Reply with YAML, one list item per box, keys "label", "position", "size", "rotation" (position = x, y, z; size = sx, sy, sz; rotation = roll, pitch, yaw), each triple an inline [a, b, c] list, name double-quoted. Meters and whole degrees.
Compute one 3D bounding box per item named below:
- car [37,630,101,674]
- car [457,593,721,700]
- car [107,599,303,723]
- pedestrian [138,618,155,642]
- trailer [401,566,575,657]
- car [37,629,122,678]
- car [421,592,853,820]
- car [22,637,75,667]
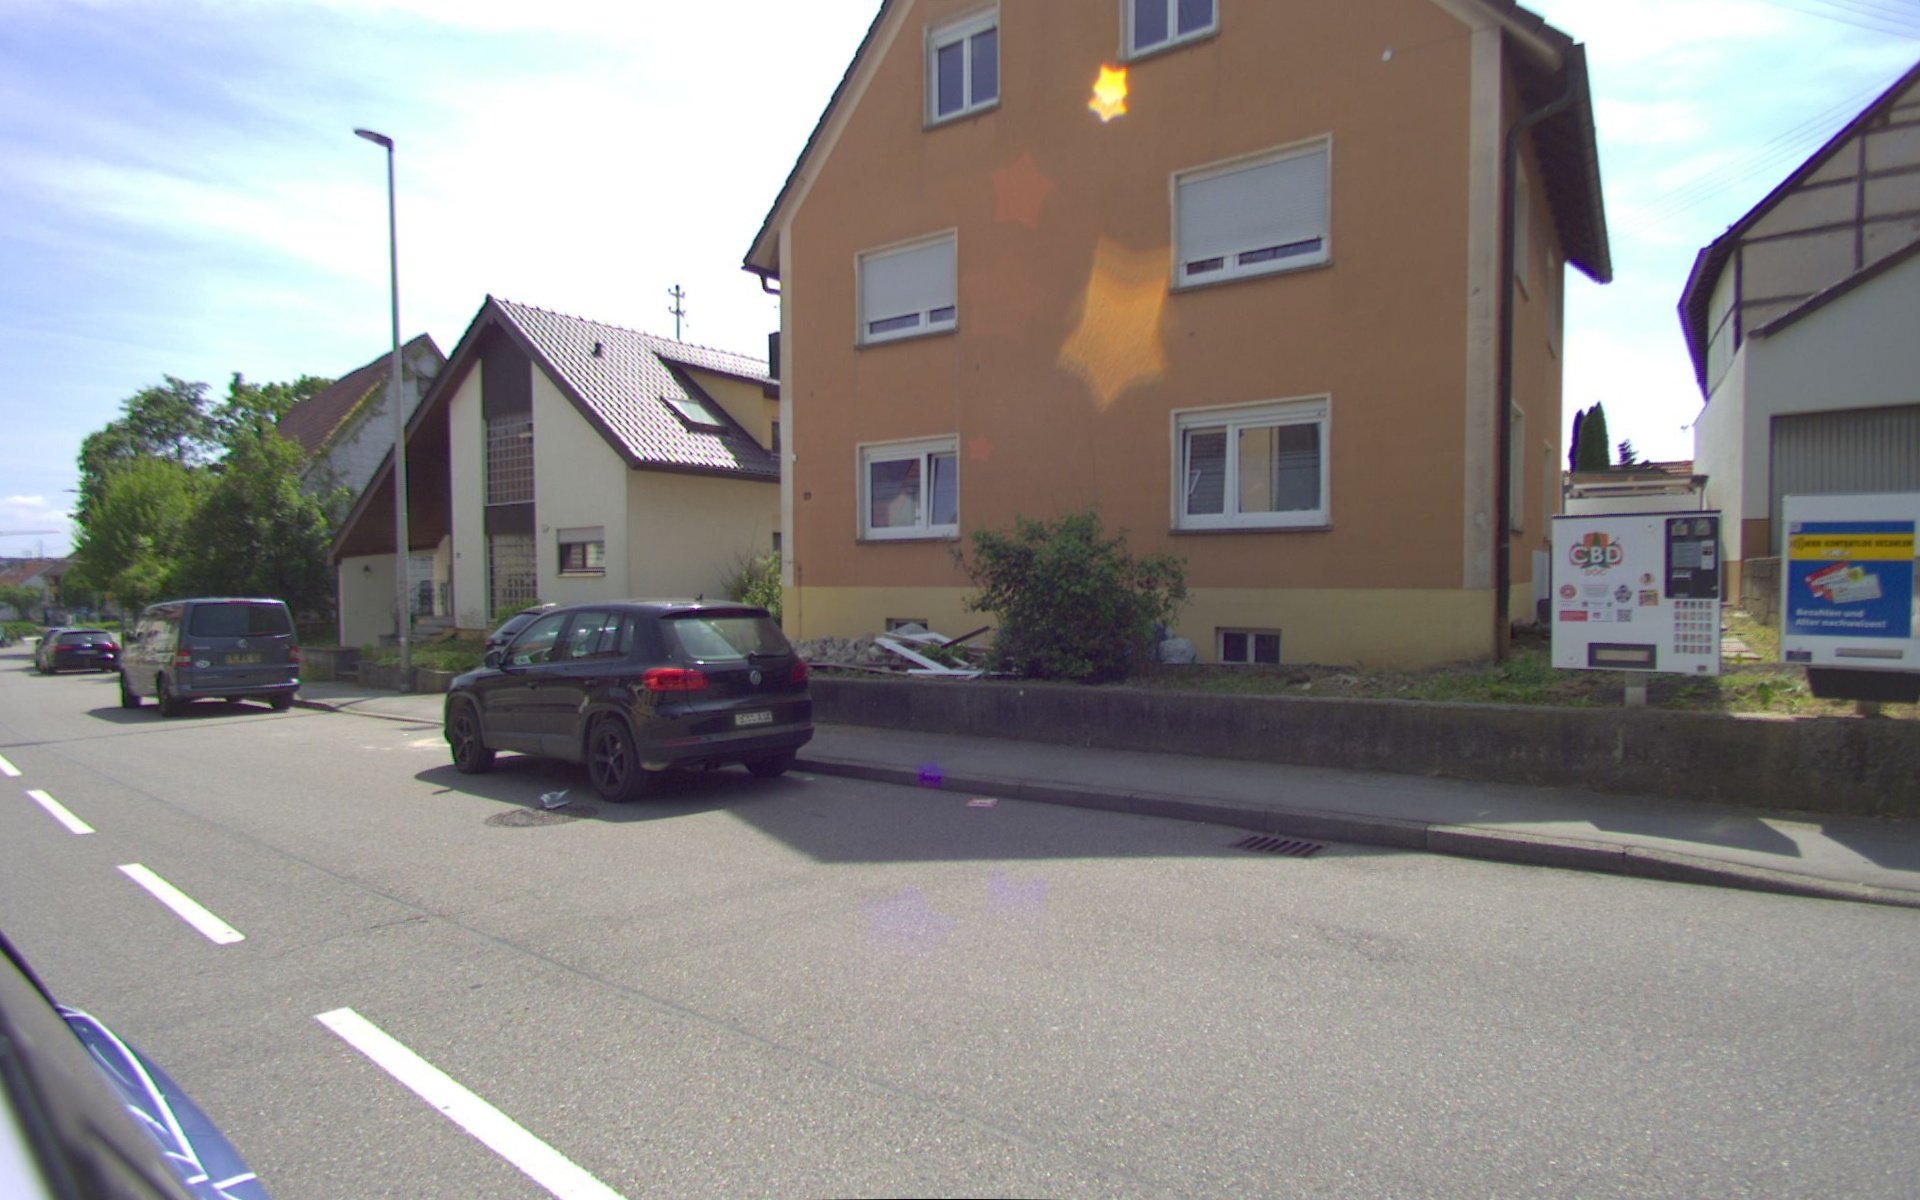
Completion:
- label: "car"
  position: [-33.548, 1.947, 38.144]
  size: [1.733, 1.532, 4.306]
  rotation: [-1, -2, -41]
- label: "car"
  position: [-6.650, 0.765, 18.560]
  size: [1.818, 1.415, 4.192]
  rotation: [-2, 3, 36]
- label: "car"
  position: [-13.809, 1.025, 18.388]
  size: [4.984, 1.952, 1.871]
  rotation: [-1, -2, 41]
- label: "pedestrian"
  position: [-57.988, 2.138, 72.155]
  size: [0.627, 1.628, 0.724]
  rotation: [-2, 1, 33]
- label: "trailer"
  position: [-13.310, 0.287, 28.701]
  size: [1.998, 2.027, 3.795]
  rotation: [-1, 6, 40]
- label: "car"
  position: [-29.338, 1.754, 33.665]
  size: [4.777, 1.484, 1.798]
  rotation: [-3, -2, 45]
- label: "car"
  position: [-3.134, 0.826, 9.358]
  size: [4.282, 1.648, 1.751]
  rotation: [-2, -2, 39]
- label: "car"
  position: [-46.626, 2.653, 51.852]
  size: [1.782, 1.434, 4.936]
  rotation: [0, -2, -40]
